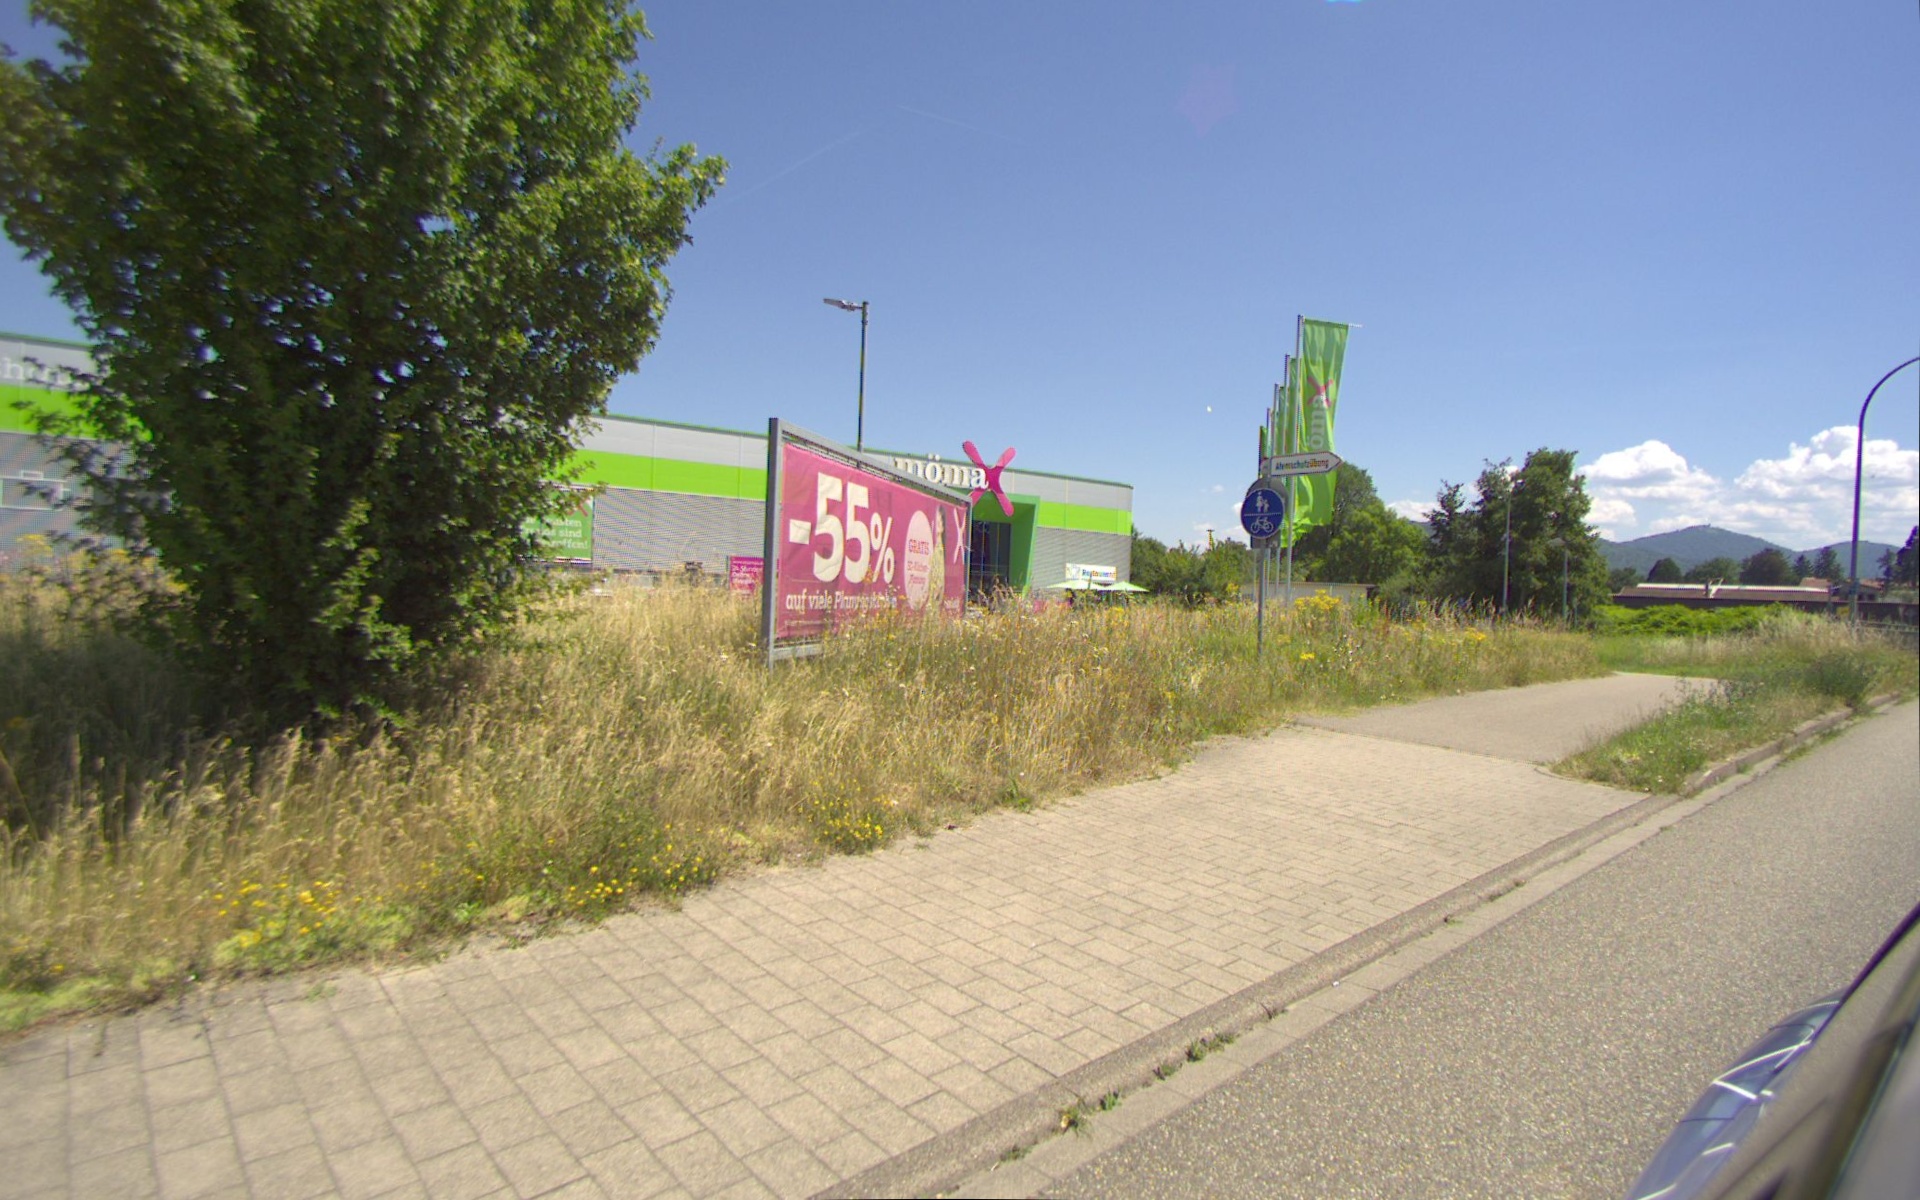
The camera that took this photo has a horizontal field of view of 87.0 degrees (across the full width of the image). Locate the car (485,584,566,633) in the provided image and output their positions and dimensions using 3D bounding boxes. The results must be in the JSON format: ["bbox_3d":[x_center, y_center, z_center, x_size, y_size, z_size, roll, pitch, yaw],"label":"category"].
[{"bbox_3d":[-16.031,0.271,37.232,1.910,1.550,4.001,0,2,-35],"label":"car"}]

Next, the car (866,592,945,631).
[{"bbox_3d":[-2.635,0.515,47.945,1.879,1.566,4.001,0,2,-35],"label":"car"}]

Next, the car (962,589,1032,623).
[{"bbox_3d":[2.069,0.301,57.279,1.879,1.674,4.001,0,2,-35],"label":"car"}]

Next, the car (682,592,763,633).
[{"bbox_3d":[-9.914,0.485,42.048,1.910,1.480,4.001,0,2,-35],"label":"car"}]

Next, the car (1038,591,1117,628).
[{"bbox_3d":[6.055,0.469,52.607,1.879,1.674,4.001,0,2,-35],"label":"car"}]

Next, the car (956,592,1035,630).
[{"bbox_3d":[1.749,0.525,50.710,1.879,1.674,4.001,0,2,-35],"label":"car"}]

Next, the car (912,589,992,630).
[{"bbox_3d":[-0.437,0.428,49.069,1.879,1.717,4.001,0,2,-35],"label":"car"}]

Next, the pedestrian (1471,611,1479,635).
[{"bbox_3d":[33.862,1.521,66.519,0.433,1.558,0.411,1,-2,20],"label":"pedestrian"}]

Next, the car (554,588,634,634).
[{"bbox_3d":[-14.170,0.387,39.052,1.910,1.550,4.001,0,2,-35],"label":"car"}]

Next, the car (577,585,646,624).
[{"bbox_3d":[-15.763,0.159,45.653,1.910,1.523,4.001,0,2,-35],"label":"car"}]

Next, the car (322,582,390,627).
[{"bbox_3d":[-23.790,0.122,39.793,1.962,1.537,4.422,0,2,-36],"label":"car"}]
